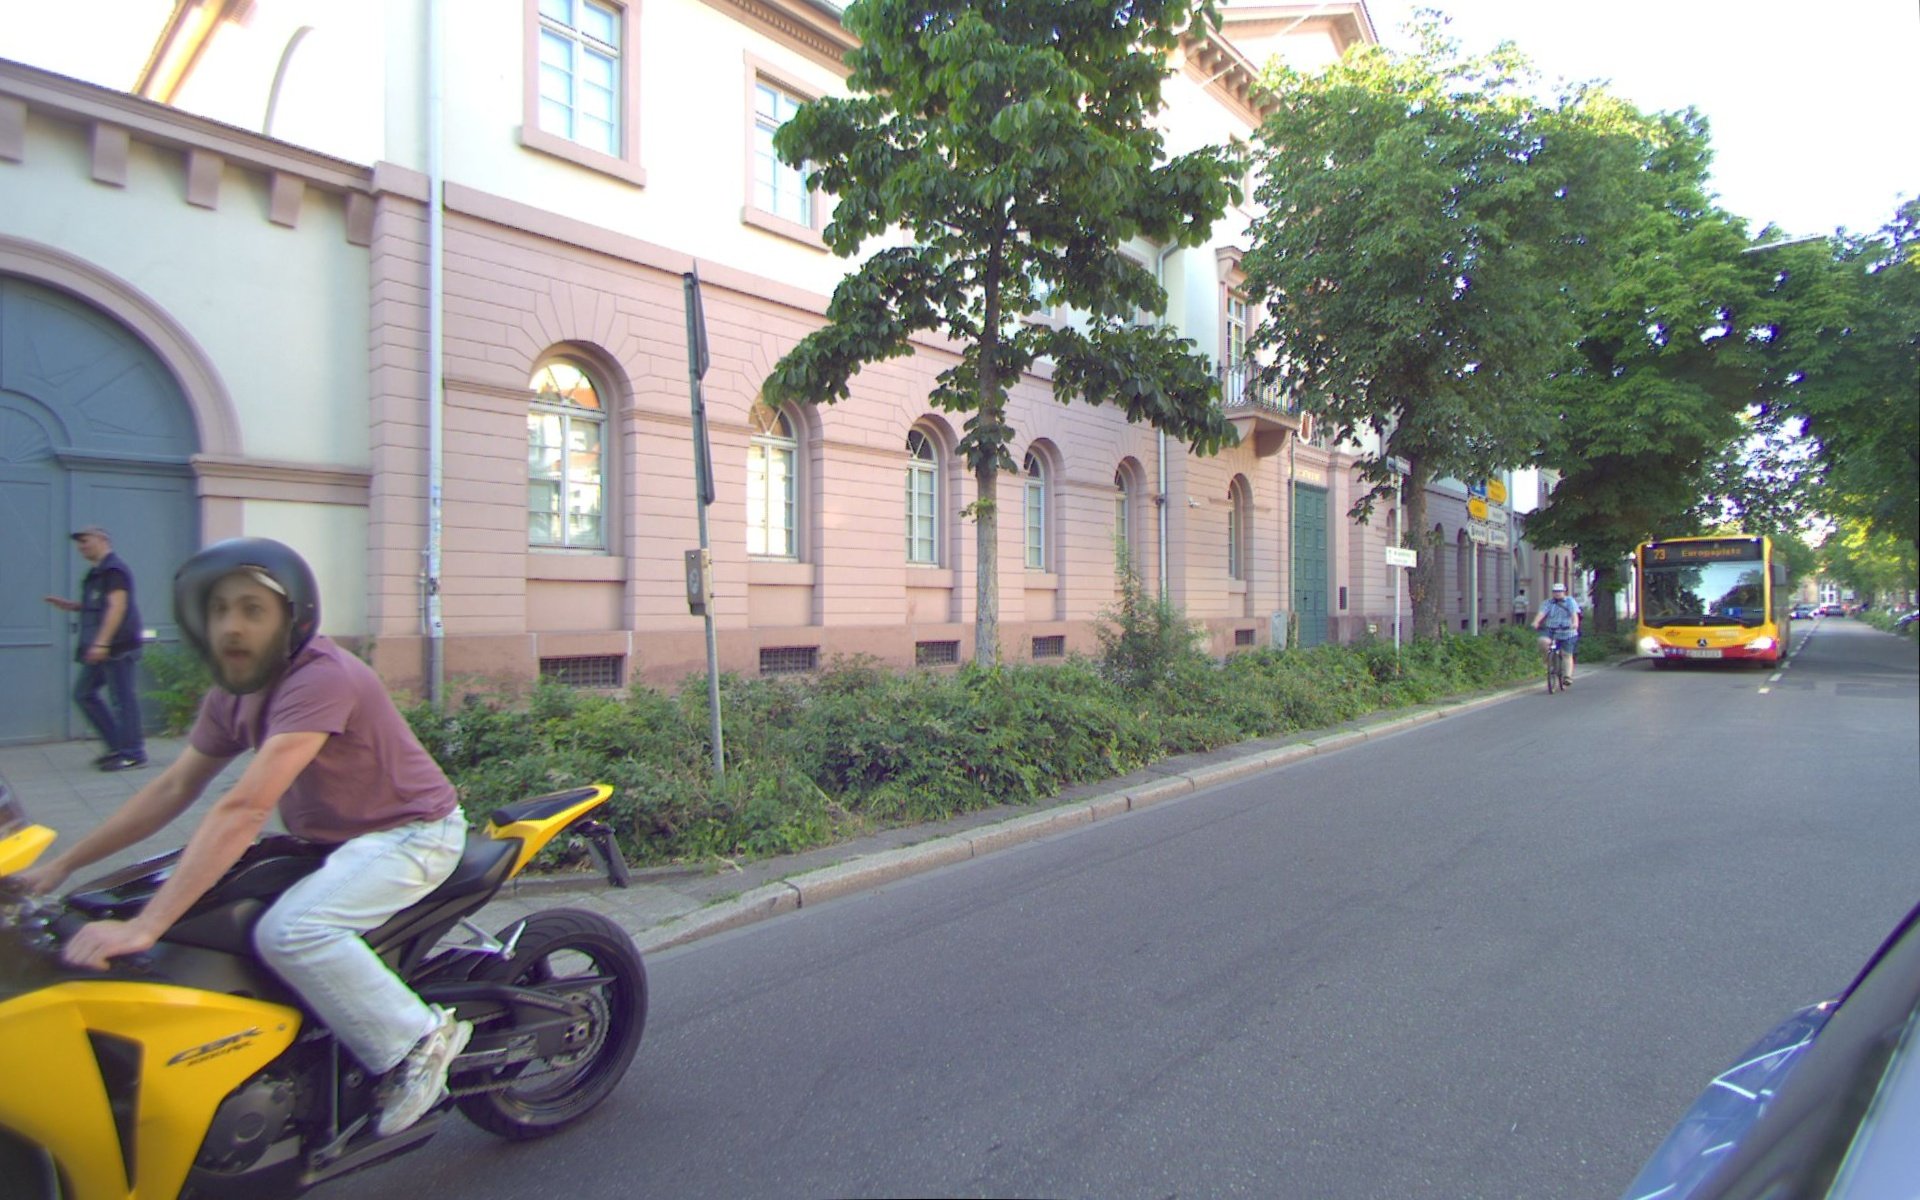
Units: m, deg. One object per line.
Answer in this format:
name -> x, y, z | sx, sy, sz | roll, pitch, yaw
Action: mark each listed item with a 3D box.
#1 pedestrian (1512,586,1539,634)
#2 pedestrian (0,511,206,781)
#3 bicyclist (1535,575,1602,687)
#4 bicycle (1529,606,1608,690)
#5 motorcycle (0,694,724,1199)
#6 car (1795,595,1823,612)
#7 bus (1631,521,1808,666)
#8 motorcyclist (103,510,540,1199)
pedestrian -> 22.261, 0.389, 39.849 | 0.797, 1.855, 0.916 | 0, -1, 40
pedestrian -> -6.465, 0.302, 7.639 | 0.797, 1.862, 1.067 | 3, 1, 40
bicyclist -> 10.466, 0.535, 17.405 | 0.780, 1.863, 0.814 | -3, -2, 41
bicycle -> 10.518, 0.798, 17.453 | 0.780, 1.347, 2.047 | -3, -2, 41
motorcycle -> -1.597, 0.899, 2.427 | 0.789, 1.175, 1.939 | -2, -1, 38
car -> 85.764, 0.359, 102.219 | 2.075, 1.719, 3.938 | 0, 0, 43
bus -> 20.289, -0.108, 26.632 | 2.701, 3.039, 11.900 | -3, -2, 41
motorcyclist -> -1.564, 0.553, 2.481 | 0.789, 1.438, 0.689 | -2, -2, 39
